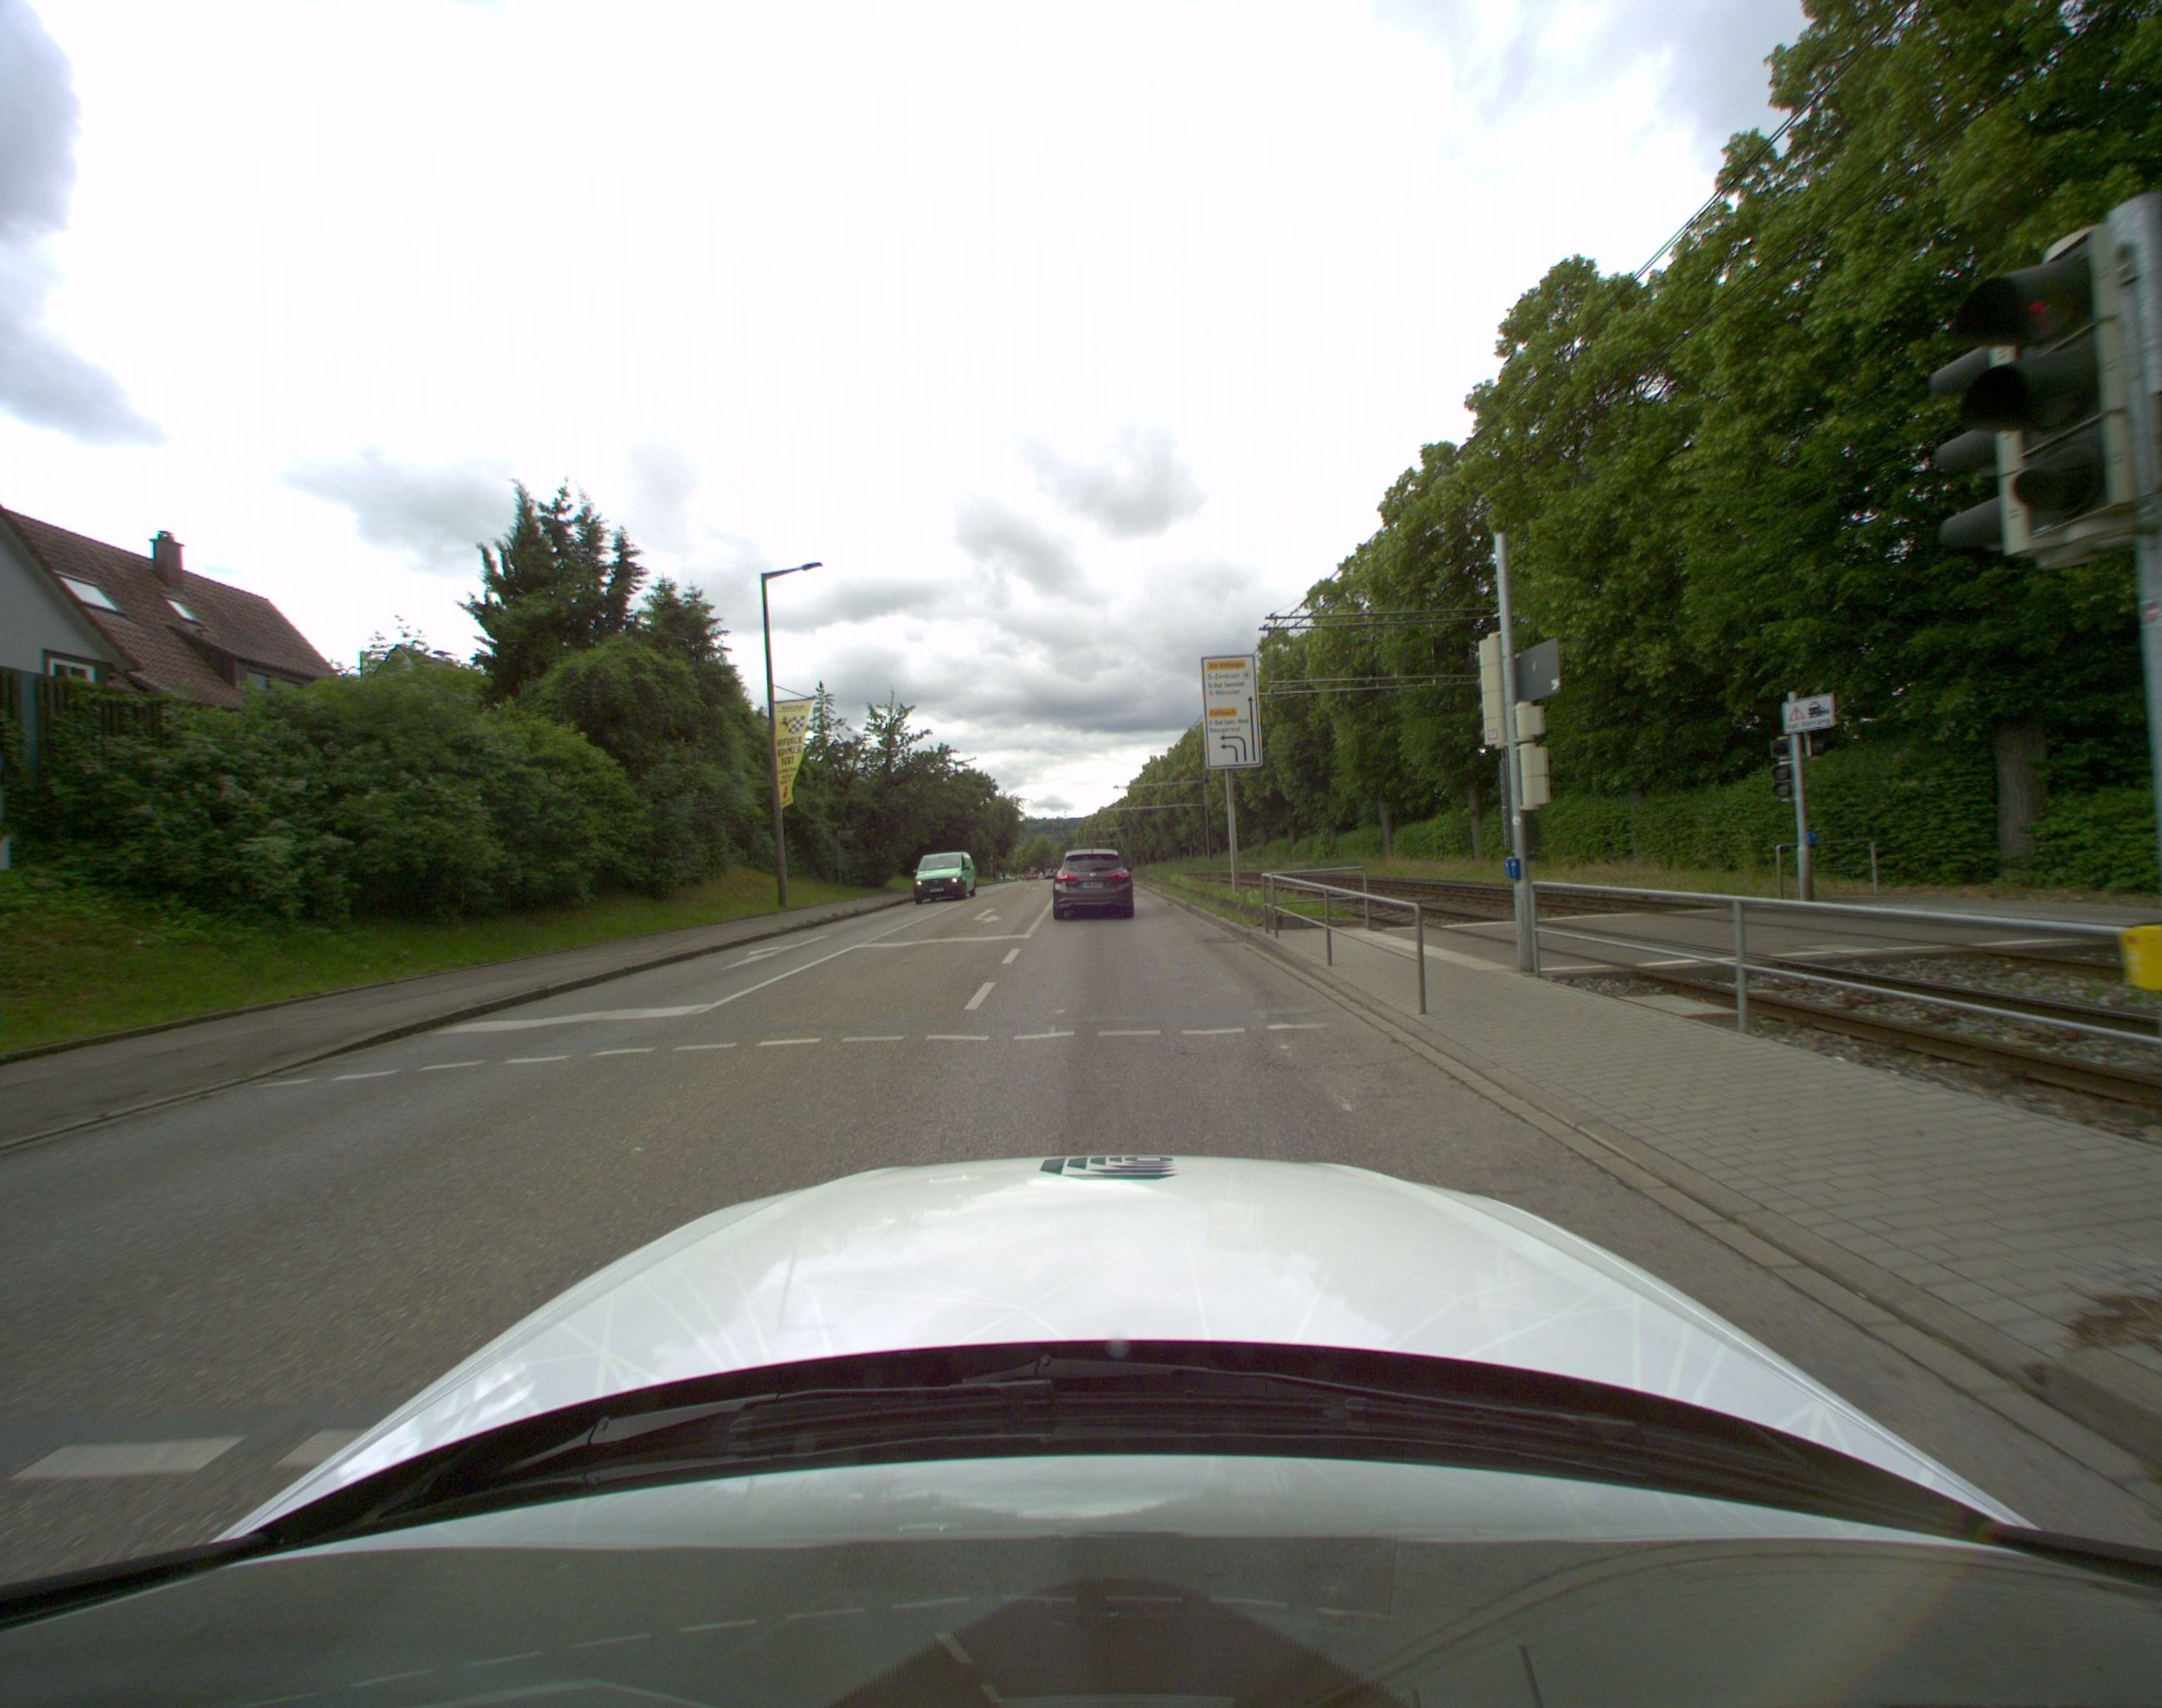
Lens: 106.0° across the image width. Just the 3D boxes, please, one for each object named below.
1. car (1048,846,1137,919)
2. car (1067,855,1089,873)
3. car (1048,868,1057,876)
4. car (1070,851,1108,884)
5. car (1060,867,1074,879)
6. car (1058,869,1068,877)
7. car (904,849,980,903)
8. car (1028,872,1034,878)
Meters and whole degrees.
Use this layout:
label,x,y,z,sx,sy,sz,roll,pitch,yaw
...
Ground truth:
label,x,y,z,sx,sy,sz,roll,pitch,yaw
car,0.288,0.582,19.103,1.844,1.493,4.001,-1,0,1
car,-0.295,0.878,69.759,1.696,1.444,3.995,-2,-2,-3
car,-6.206,3.917,175.014,1.790,1.510,3.995,-2,-2,-3
car,0.347,0.689,39.924,1.695,1.444,3.997,-2,-2,-2
car,-1.864,2.524,105.296,1.696,1.444,3.995,-2,-2,-3
car,-3.447,3.586,154.363,1.790,1.510,3.995,-2,-2,-3
car,-5.344,0.807,31.994,2.052,1.810,4.728,-5,0,-1
car,-15.936,6.642,258.307,1.696,1.714,3.995,-2,-2,-3
